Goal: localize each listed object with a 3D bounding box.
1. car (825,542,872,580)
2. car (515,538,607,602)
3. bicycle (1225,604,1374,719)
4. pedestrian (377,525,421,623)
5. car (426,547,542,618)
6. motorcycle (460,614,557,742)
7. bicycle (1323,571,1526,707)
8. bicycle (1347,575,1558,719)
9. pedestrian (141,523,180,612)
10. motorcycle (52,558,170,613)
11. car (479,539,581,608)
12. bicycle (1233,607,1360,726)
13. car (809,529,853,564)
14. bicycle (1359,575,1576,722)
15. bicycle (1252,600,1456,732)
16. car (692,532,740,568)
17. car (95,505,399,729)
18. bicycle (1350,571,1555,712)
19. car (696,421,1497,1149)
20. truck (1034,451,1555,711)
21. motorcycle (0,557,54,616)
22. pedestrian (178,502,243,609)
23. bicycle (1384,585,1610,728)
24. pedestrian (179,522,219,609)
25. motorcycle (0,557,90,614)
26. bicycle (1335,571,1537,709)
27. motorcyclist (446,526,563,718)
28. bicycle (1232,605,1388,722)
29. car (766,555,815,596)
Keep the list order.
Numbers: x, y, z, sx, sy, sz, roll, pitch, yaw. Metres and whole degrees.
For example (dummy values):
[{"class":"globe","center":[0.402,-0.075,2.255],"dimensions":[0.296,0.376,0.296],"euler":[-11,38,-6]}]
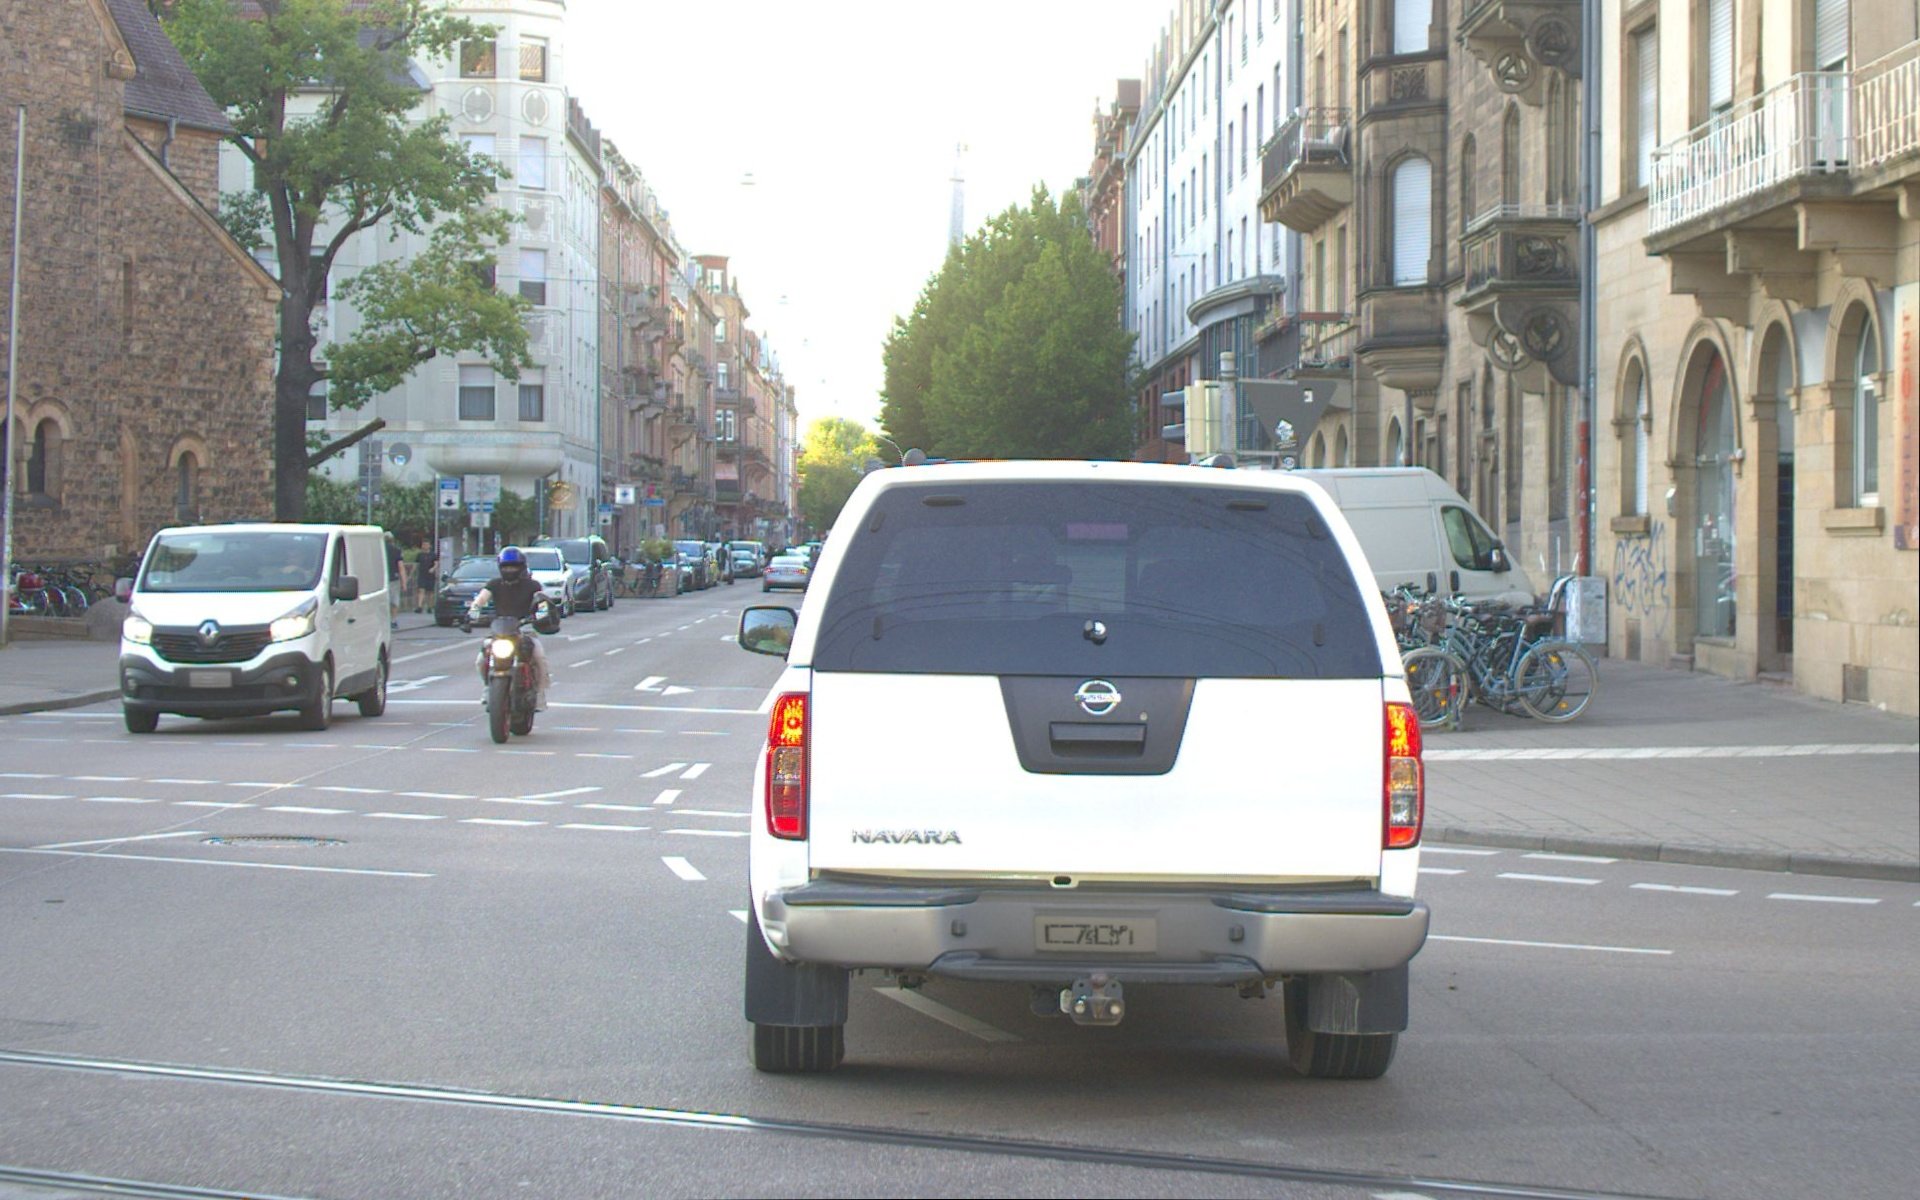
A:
[{"class":"car","center":[-4.673,-1.629,144.513],"dimensions":[1.858,1.524,4.000],"euler":[1,1,0]},{"class":"car","center":[-10.000,-0.763,86.414],"dimensions":[1.858,1.524,4.000],"euler":[1,1,0]},{"class":"bicycle","center":[3.222,0.581,32.659],"dimensions":[1.333,1.021,0.317],"euler":[-3,1,-1]},{"class":"pedestrian","center":[-10.708,-0.503,65.628],"dimensions":[0.642,1.849,0.562],"euler":[1,0,-29]},{"class":"car","center":[-9.879,-0.380,71.636],"dimensions":[1.858,1.393,4.000],"euler":[1,1,0]},{"class":"motorcycle","center":[-3.949,0.668,30.164],"dimensions":[0.599,1.040,1.946],"euler":[1,1,-1]},{"class":"bicycle","center":[4.525,0.375,33.542],"dimensions":[1.855,1.233,0.531],"euler":[-3,1,-1]},{"class":"bicycle","center":[4.529,0.427,31.680],"dimensions":[1.817,1.233,0.478],"euler":[-3,1,-1]},{"class":"pedestrian","center":[-15.275,-0.619,65.666],"dimensions":[0.642,1.689,0.562],"euler":[1,0,-8]},{"class":"motorcycle","center":[-15.847,-0.273,64.168],"dimensions":[2.167,0.984,0.593],"euler":[2,1,20]},{"class":"car","center":[-9.959,-0.620,79.832],"dimensions":[1.858,1.524,4.000],"euler":[1,1,0]},{"class":"bicycle","center":[3.071,0.605,31.403],"dimensions":[1.077,1.021,0.317],"euler":[-3,1,-1]},{"class":"car","center":[-5.818,-2.407,154.835],"dimensions":[1.920,1.524,4.000],"euler":[1,1,-2]},{"class":"bicycle","center":[4.564,0.430,30.968],"dimensions":[1.817,1.233,0.488],"euler":[-3,1,-1]},{"class":"bicycle","center":[3.491,0.580,30.512],"dimensions":[1.726,1.080,0.317],"euler":[-3,1,-1]},{"class":"car","center":[-10.808,-2.228,152.548],"dimensions":[1.858,1.524,4.000],"euler":[1,1,0]},{"class":"car","center":[-6.821,0.126,33.420],"dimensions":[1.993,2.007,4.951],"euler":[0,1,-1]},{"class":"bicycle","center":[4.634,0.387,32.403],"dimensions":[1.817,1.233,0.412],"euler":[-3,1,-1]},{"class":"car","center":[0.358,0.451,10.773],"dimensions":[1.993,1.803,4.000],"euler":[2,1,0]},{"class":"truck","center":[3.640,-0.207,36.596],"dimensions":[5.657,2.556,2.287],"euler":[0,1,-43]},{"class":"motorcycle","center":[-16.990,-0.253,59.871],"dimensions":[2.243,0.984,0.708],"euler":[1,0,-5]},{"class":"pedestrian","center":[-11.808,-0.702,54.175],"dimensions":[0.812,1.664,0.860],"euler":[1,0,-2]},{"class":"bicycle","center":[4.683,0.487,30.026],"dimensions":[1.817,1.146,0.636],"euler":[-3,1,-1]},{"class":"pedestrian","center":[-15.042,-0.679,67.964],"dimensions":[0.643,1.689,0.562],"euler":[1,0,0]},{"class":"motorcycle","center":[-16.884,-0.272,61.897],"dimensions":[2.243,0.984,0.708],"euler":[1,0,-5]},{"class":"bicycle","center":[4.566,0.379,33.010],"dimensions":[1.817,1.233,0.410],"euler":[-3,1,-1]},{"class":"motorcyclist","center":[-3.986,0.185,30.168],"dimensions":[0.874,1.639,0.963],"euler":[1,0,-1]},{"class":"bicycle","center":[3.268,0.587,32.111],"dimensions":[1.371,1.021,0.317],"euler":[-3,1,-1]},{"class":"car","center":[-6.646,-0.976,134.878],"dimensions":[1.858,1.524,4.001],"euler":[1,1,-3]}]
